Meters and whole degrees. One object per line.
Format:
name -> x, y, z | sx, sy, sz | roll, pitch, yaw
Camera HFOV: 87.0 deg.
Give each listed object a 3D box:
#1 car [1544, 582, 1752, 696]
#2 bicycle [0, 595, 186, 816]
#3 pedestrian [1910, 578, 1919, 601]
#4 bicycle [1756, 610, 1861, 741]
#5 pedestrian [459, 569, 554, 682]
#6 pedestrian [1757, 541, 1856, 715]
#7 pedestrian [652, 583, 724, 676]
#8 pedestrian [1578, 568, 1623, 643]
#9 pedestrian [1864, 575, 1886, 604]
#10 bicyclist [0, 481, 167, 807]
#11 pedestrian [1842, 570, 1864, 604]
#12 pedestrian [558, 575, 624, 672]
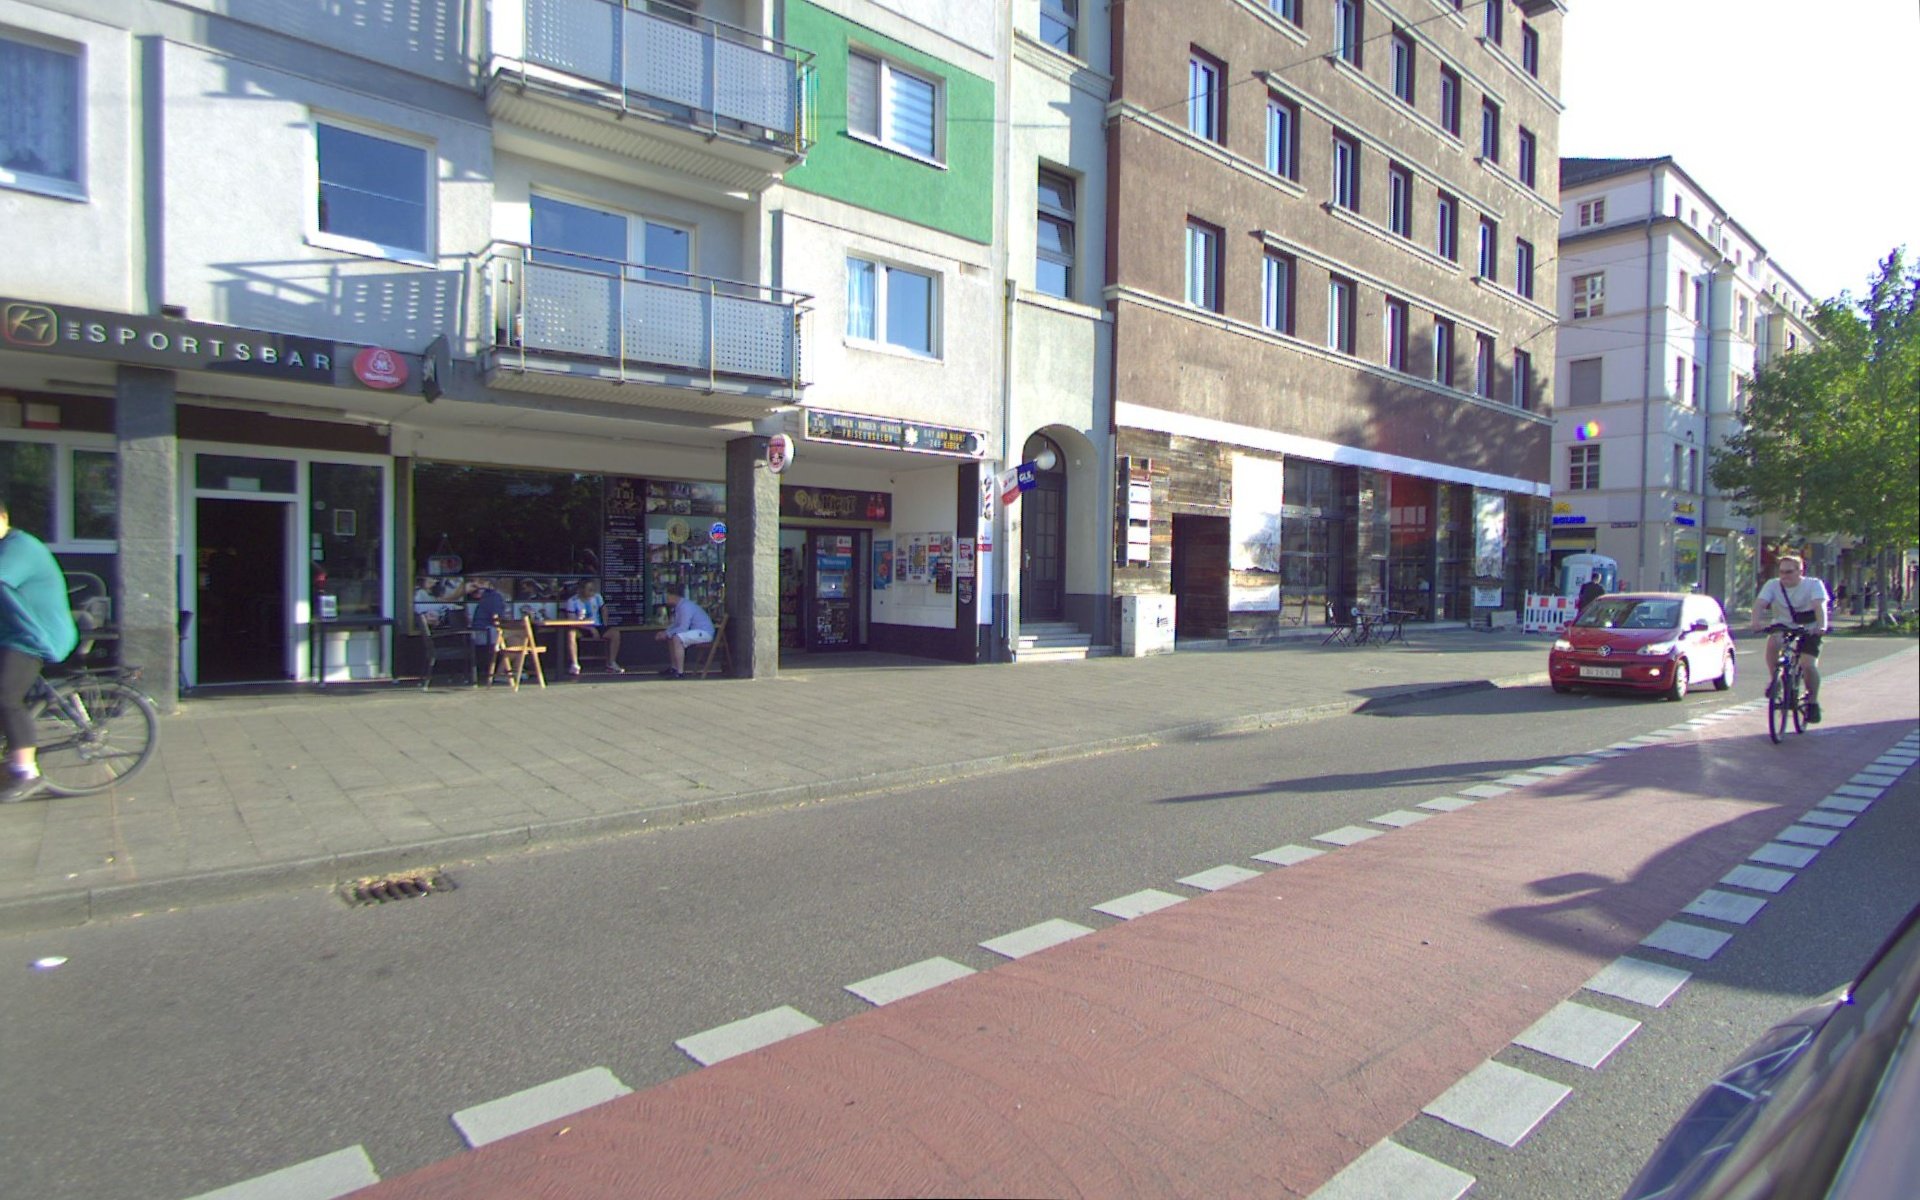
car -> 10.313, 0.496, 15.099 | 3.477, 1.499, 1.686 | -1, 0, -40
bicycle -> -5.664, 0.610, 5.835 | 0.563, 1.191, 1.856 | 4, 3, 28
pedestrian -> 61.652, -0.687, 65.372 | 0.350, 1.458, 0.311 | 0, 1, -33
bicycle -> 8.561, 0.711, 10.189 | 1.817, 1.173, 0.529 | -1, 0, -41
pedestrian -> -5.530, 0.286, 12.353 | 0.937, 1.311, 0.646 | 0, 1, -38
pedestrian -> 8.540, 0.265, 10.207 | 0.828, 1.669, 0.639 | 0, 0, -41
pedestrian -> -3.526, 0.361, 13.110 | 0.715, 1.166, 0.605 | 0, 1, -41
pedestrian -> 14.102, 0.107, 22.295 | 0.869, 1.616, 0.602 | 0, 1, -41
pedestrian -> 45.830, -0.519, 50.694 | 0.908, 1.458, 0.727 | 0, 1, -41
bicyclist -> -5.639, 0.239, 5.949 | 0.738, 1.830, 1.372 | 1, 1, 29
pedestrian -> 45.509, -0.652, 51.590 | 0.908, 1.697, 0.727 | 0, 1, -41
pedestrian -> -4.954, 0.293, 13.564 | 0.635, 1.247, 0.727 | 0, 1, -39
